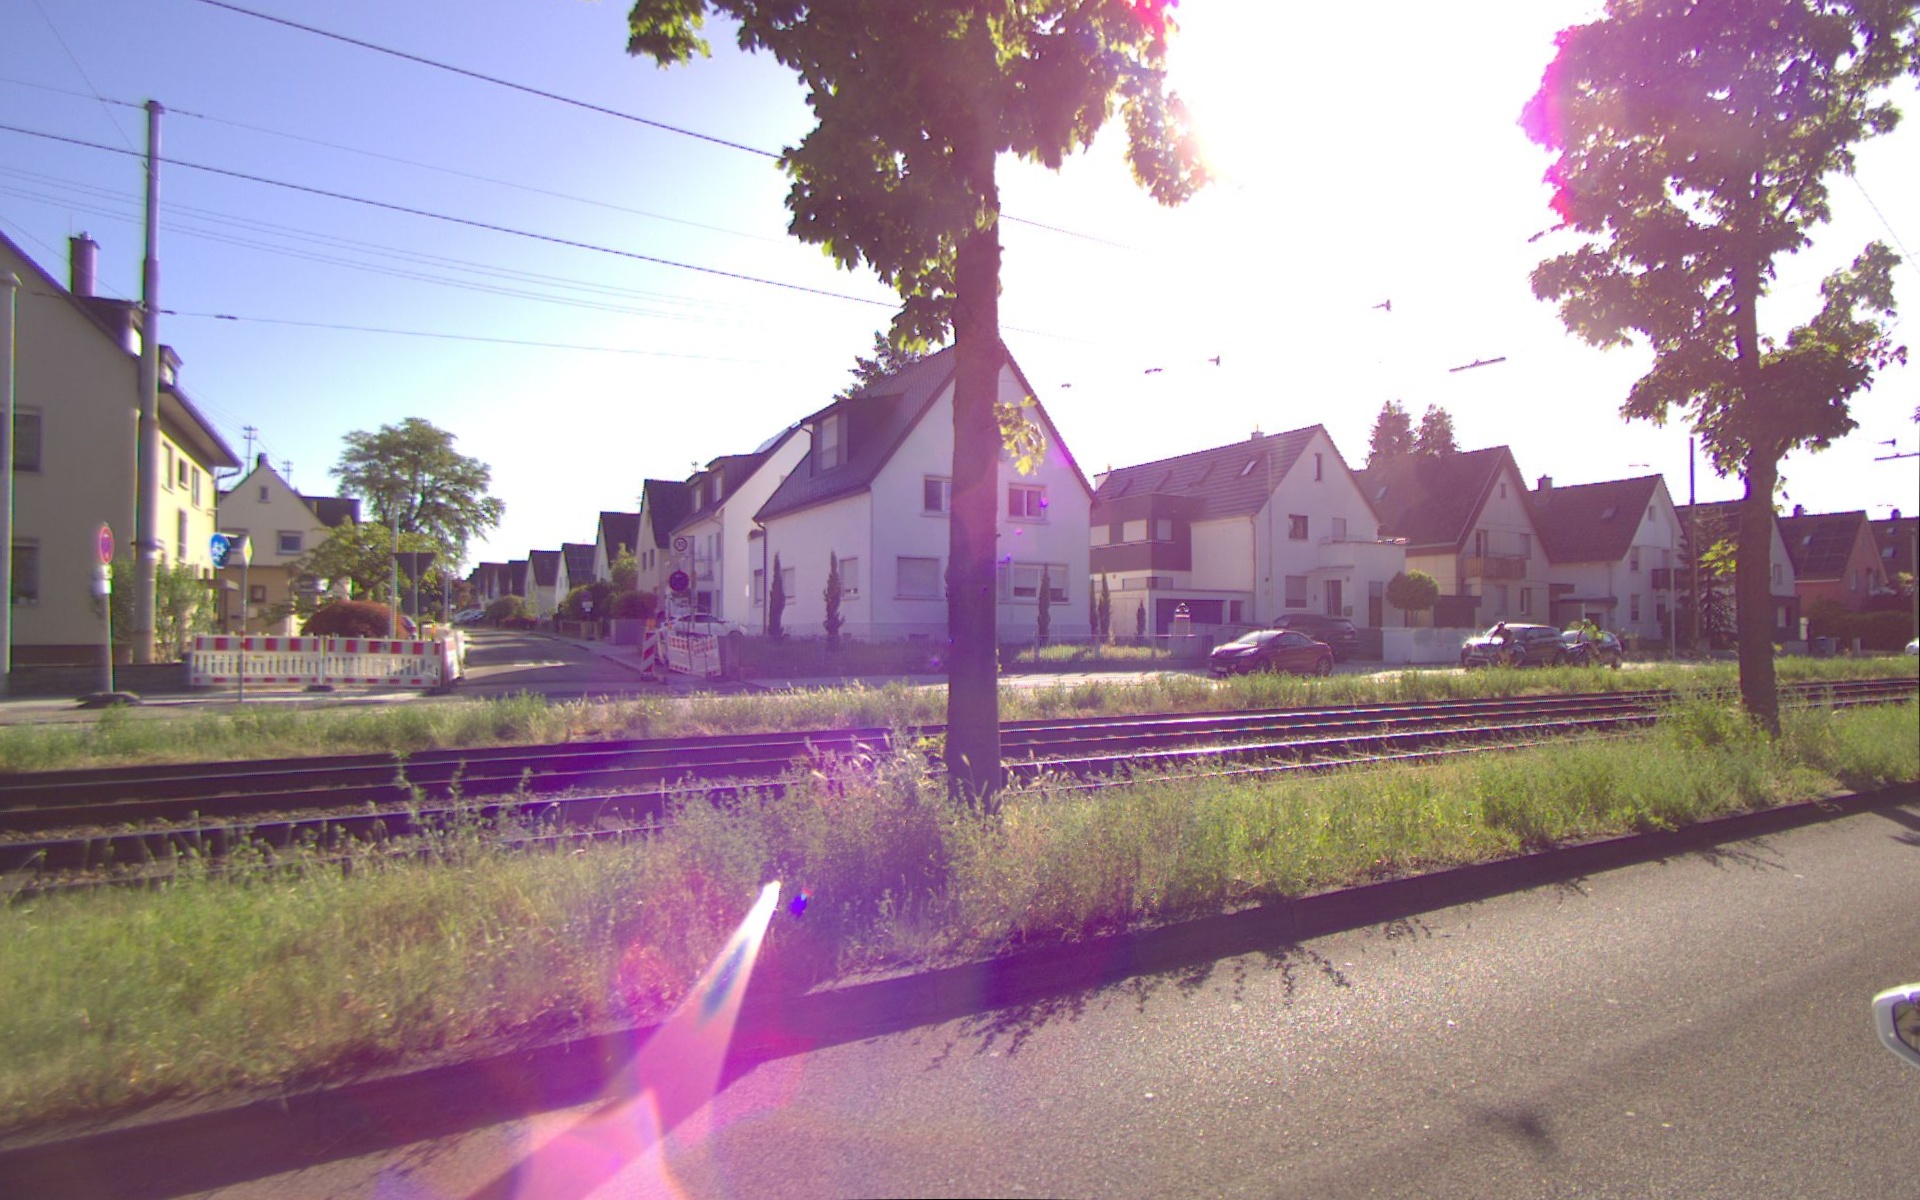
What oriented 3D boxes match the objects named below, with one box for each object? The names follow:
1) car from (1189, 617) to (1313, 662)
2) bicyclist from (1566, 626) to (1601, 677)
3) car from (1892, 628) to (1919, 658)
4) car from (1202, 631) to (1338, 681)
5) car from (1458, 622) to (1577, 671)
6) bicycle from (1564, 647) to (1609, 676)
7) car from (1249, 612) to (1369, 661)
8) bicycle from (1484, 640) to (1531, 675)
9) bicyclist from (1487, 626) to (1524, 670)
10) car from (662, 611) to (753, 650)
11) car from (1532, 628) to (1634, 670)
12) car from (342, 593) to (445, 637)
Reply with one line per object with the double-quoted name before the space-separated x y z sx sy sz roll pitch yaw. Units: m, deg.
"car" 10.739 1.423 37.285 1.918 1.483 4.188 2 -1 -33
"bicyclist" 21.099 1.739 34.009 0.871 1.674 0.685 1 -1 -30
"car" 56.290 2.514 58.105 4.670 1.620 1.986 2 -1 -27
"car" 9.147 1.640 29.582 3.951 1.344 1.487 2 -1 -29
"car" 19.796 1.646 35.637 4.333 1.589 1.637 2 -1 -29
"bicycle" 21.279 2.093 34.107 2.071 0.940 0.396 1 -1 -30
"car" 13.289 1.376 38.420 1.979 1.691 3.963 2 -1 -33
"bicycle" 17.256 1.792 31.666 1.857 1.084 0.396 1 -1 -30
"bicyclist" 17.242 1.501 31.738 0.871 1.354 0.685 1 -1 -30
"car" -11.899 1.428 47.351 3.942 1.799 1.990 1 -1 -22
"car" 23.438 1.844 37.752 3.942 1.470 1.606 2 -1 -30
"car" -27.758 0.741 49.323 4.282 2.040 1.985 2 -1 -29
